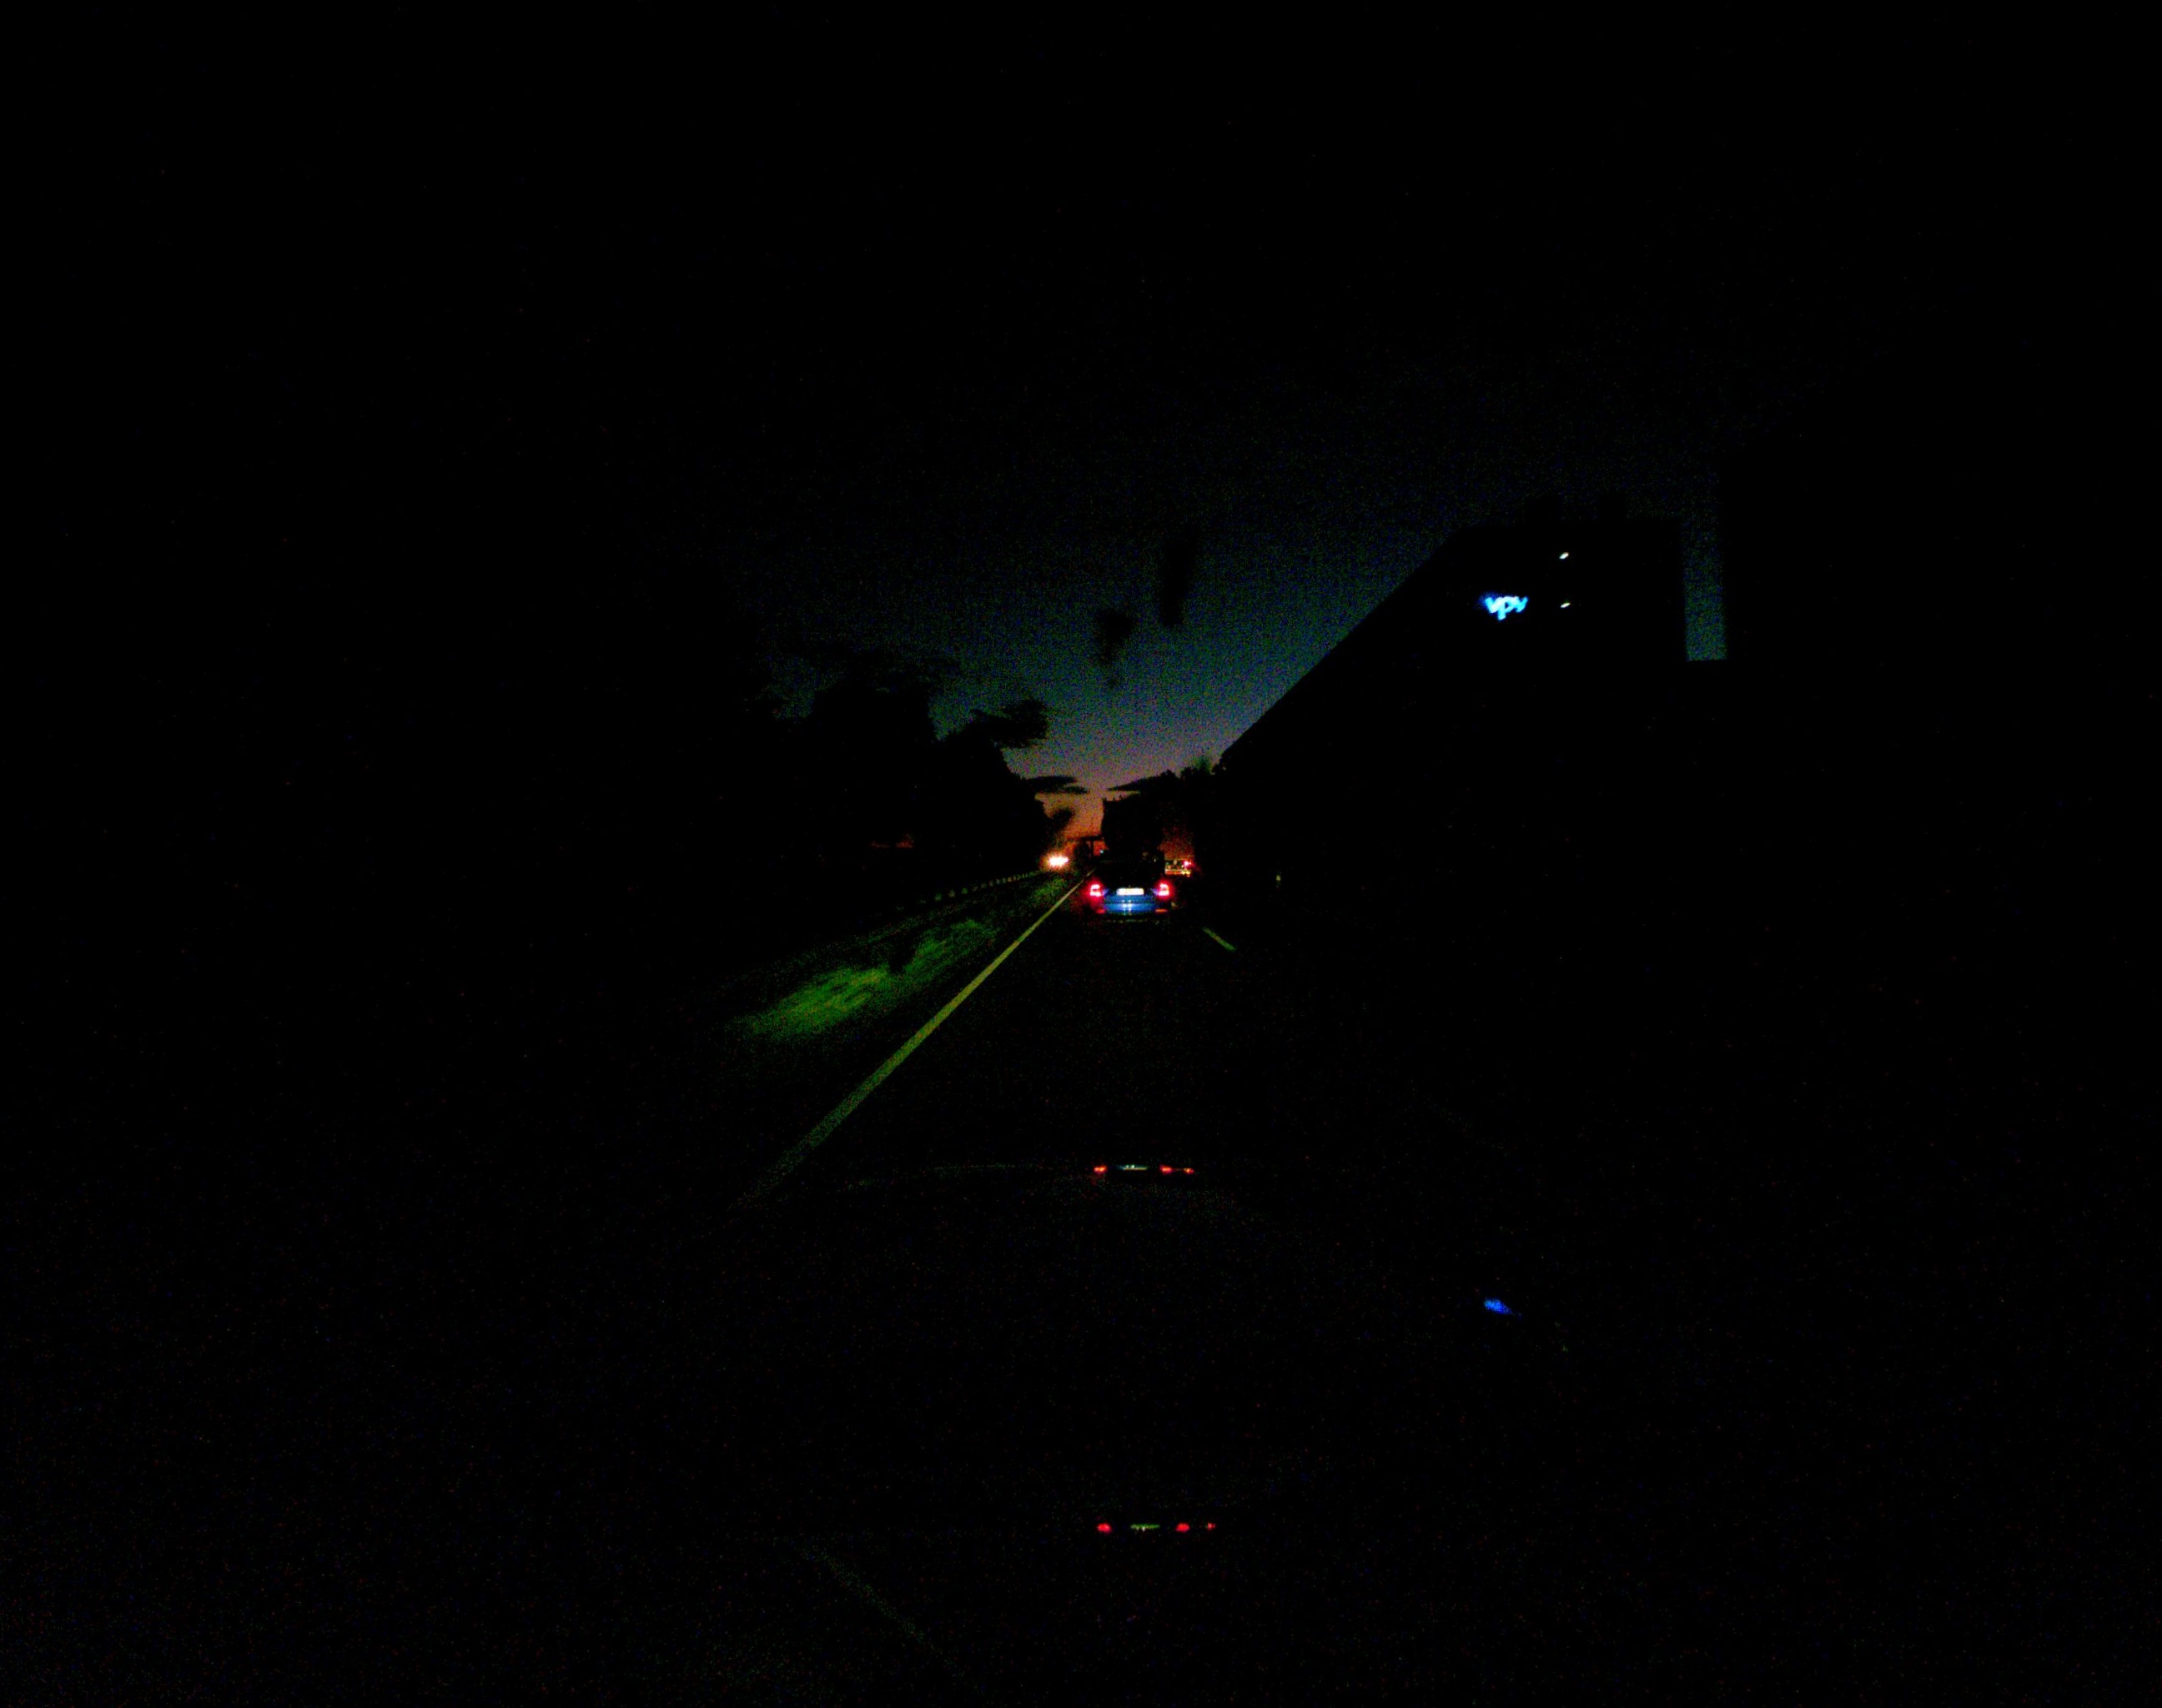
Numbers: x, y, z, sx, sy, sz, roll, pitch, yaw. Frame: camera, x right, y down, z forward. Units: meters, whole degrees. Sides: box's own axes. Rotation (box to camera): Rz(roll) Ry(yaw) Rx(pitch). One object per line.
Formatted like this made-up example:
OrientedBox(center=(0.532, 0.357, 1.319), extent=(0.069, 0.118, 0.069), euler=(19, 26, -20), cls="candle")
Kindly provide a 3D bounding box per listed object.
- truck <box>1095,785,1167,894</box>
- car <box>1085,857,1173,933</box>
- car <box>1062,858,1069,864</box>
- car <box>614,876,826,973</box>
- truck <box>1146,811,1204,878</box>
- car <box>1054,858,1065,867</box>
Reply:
OrientedBox(center=(2.083, -0.491, 37.357), extent=(2.677, 4.106, 13.145), euler=(-1, -1, 2), cls="truck")
OrientedBox(center=(0.983, 0.806, 17.634), extent=(1.689, 1.452, 3.915), euler=(-1, -1, 2), cls="car")
OrientedBox(center=(-3.937, 1.815, 212.864), extent=(1.611, 1.507, 3.870), euler=(-1, -1, 2), cls="car")
OrientedBox(center=(-6.326, 1.158, 14.922), extent=(1.713, 1.407, 4.576), euler=(-1, -1, 2), cls="car")
OrientedBox(center=(6.327, -0.525, 56.772), extent=(2.872, 4.106, 12.687), euler=(-1, -1, 2), cls="truck")
OrientedBox(center=(-4.052, 1.603, 153.502), extent=(1.676, 1.587, 4.168), euler=(-1, 0, 2), cls="car")
